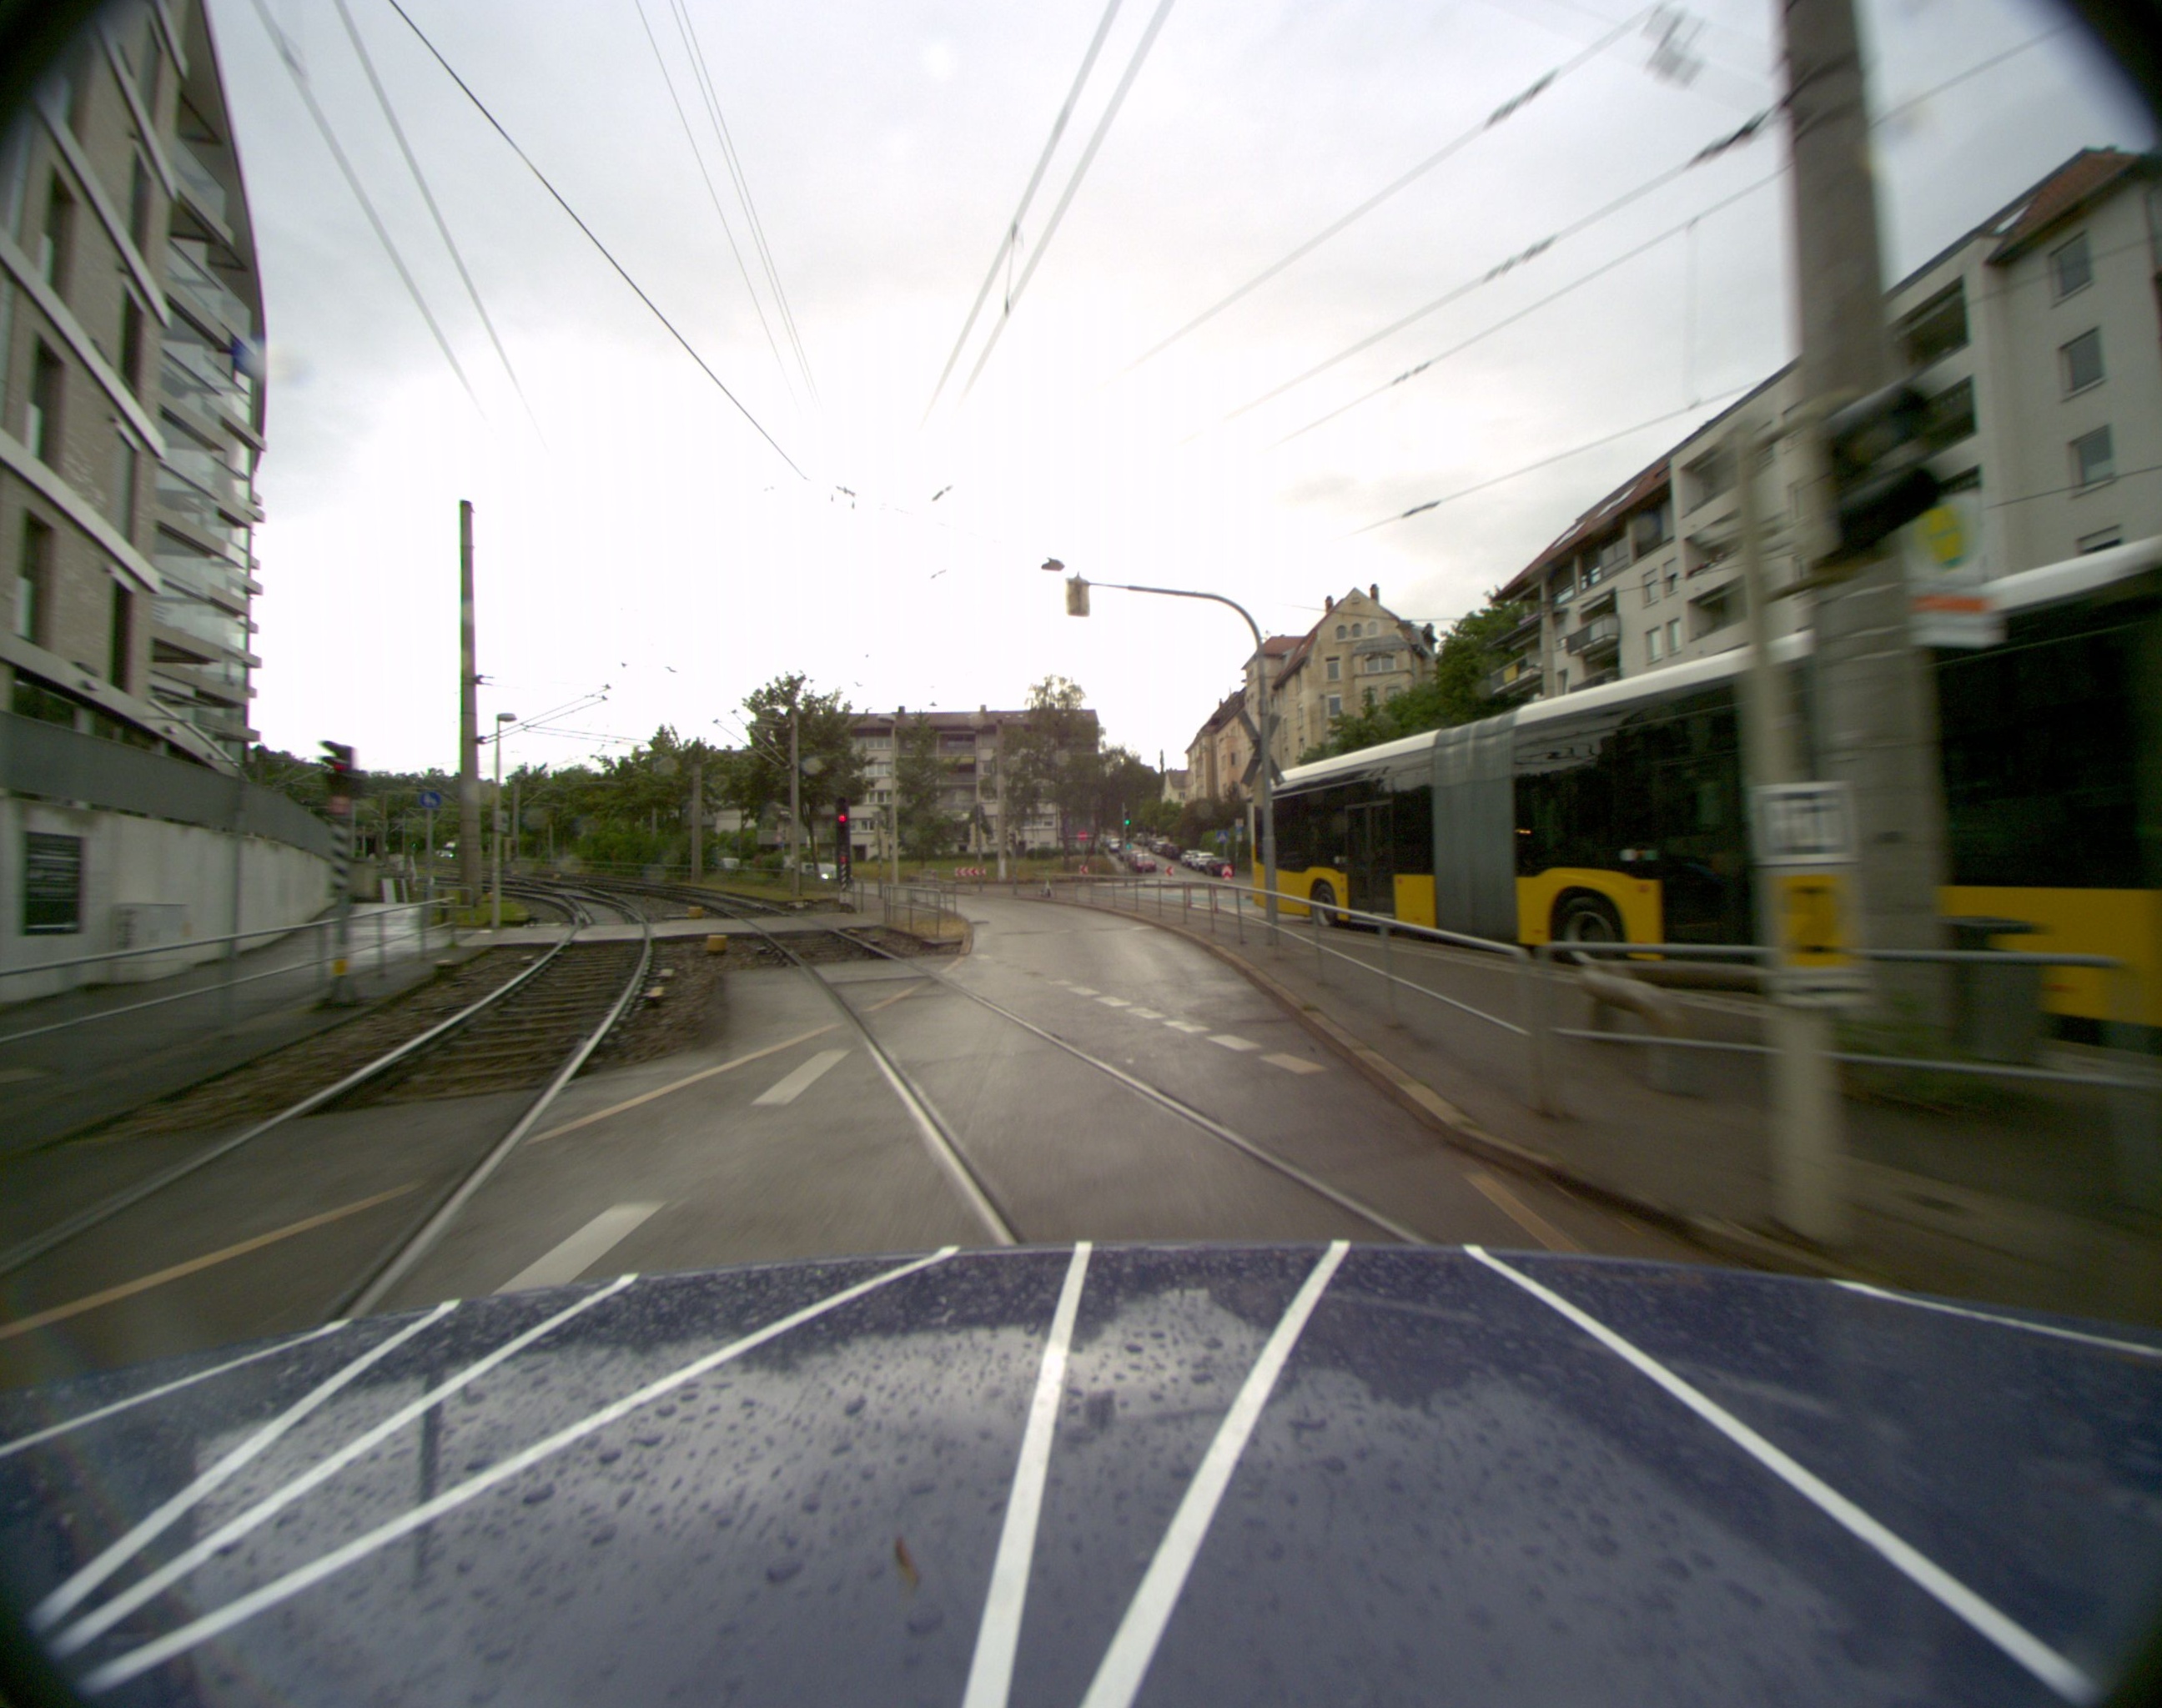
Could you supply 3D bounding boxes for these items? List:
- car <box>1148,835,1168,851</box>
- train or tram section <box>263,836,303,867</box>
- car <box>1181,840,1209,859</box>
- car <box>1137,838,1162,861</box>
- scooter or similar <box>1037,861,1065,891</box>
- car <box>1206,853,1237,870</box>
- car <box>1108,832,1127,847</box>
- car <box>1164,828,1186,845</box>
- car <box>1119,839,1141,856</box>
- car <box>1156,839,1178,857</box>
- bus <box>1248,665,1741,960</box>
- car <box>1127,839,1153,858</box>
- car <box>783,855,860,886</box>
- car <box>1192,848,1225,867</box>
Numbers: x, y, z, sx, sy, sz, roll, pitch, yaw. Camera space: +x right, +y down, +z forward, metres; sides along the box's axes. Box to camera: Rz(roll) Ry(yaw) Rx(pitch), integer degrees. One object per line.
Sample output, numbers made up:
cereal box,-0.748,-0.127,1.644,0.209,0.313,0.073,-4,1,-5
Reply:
car,9.536,-1.377,94.372,1.680,1.824,3.664,-1,1,-5
train or tram section,-96.157,-0.322,91.694,14.813,3.478,3.123,0,0,44
car,10.993,-0.427,73.600,1.805,1.824,4.282,0,0,-5
car,6.183,-0.411,68.844,1.998,2.002,4.000,-1,0,1
scooter or similar,-1.166,0.836,29.411,0.435,1.107,1.602,-3,1,-26
car,11.238,0.597,60.942,1.752,1.216,4.356,-1,1,1
car,4.660,-1.873,97.776,1.805,1.824,4.281,-1,1,-5
car,10.403,-1.958,84.030,1.680,1.824,3.664,-1,1,-5
car,5.422,-0.705,84.672,1.805,1.824,4.281,-1,1,-5
car,9.899,-0.711,87.899,1.999,2.002,3.998,-1,1,-2
bus,6.054,-0.555,13.621,2.599,3.449,9.097,-1,1,-10
car,5.721,-0.537,74.019,1.805,1.824,4.281,-1,1,-5
car,-14.700,0.946,42.952,4.293,1.607,1.817,-2,1,33
car,11.366,0.284,67.970,1.999,1.584,4.354,-1,1,-2
